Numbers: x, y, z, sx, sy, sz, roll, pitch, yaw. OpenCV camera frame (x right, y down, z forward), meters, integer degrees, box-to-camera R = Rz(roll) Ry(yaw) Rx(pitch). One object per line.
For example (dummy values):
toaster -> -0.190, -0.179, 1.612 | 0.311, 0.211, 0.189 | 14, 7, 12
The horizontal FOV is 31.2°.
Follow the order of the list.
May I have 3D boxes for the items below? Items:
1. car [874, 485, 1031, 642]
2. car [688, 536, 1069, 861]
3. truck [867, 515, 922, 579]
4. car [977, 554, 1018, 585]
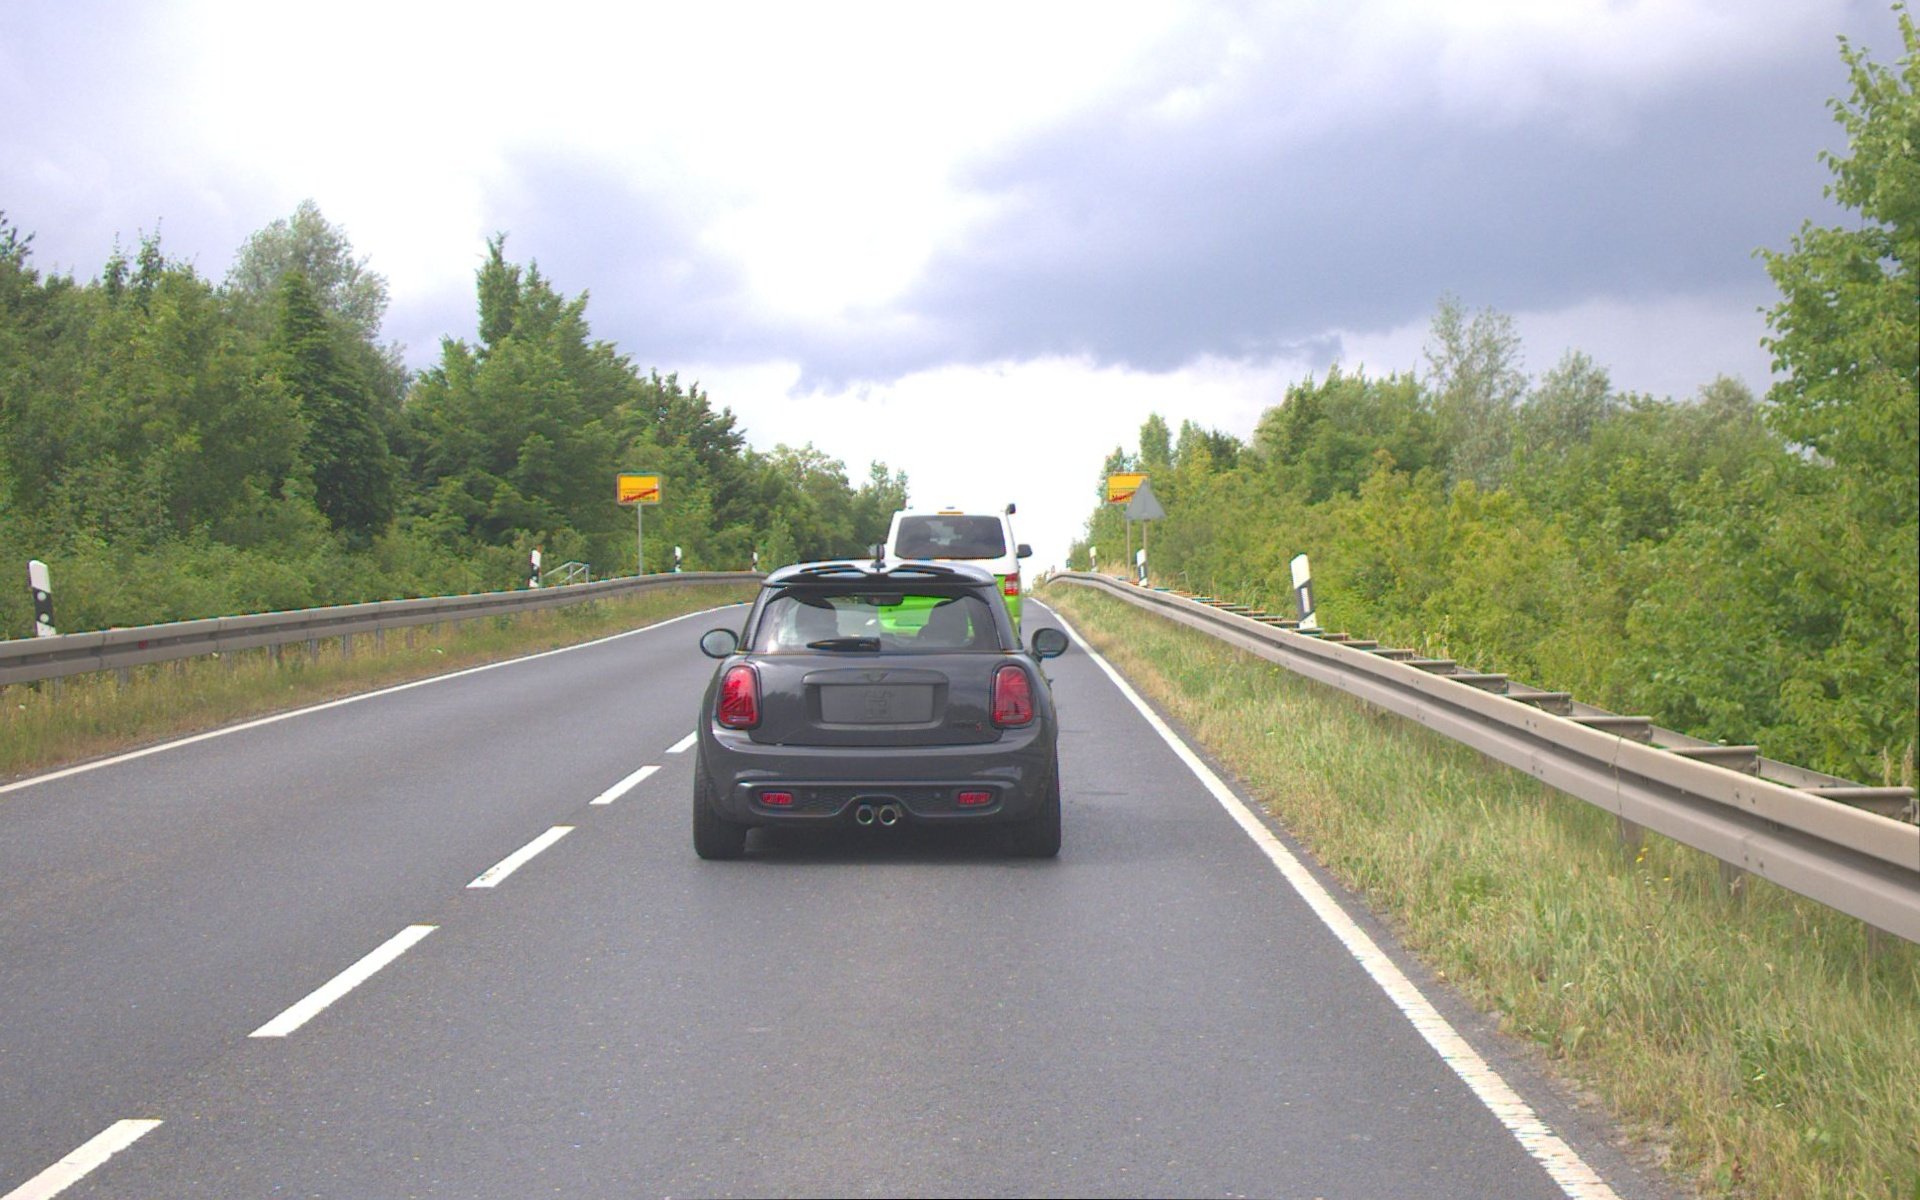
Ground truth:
car -> -0.067, -0.509, 46.273 | 2.022, 2.006, 4.000 | 0, 1, 1
car -> -0.448, 0.417, 17.697 | 1.732, 1.451, 4.001 | 0, 1, -2
truck -> -2.834, -2.349, 150.369 | 2.065, 2.733, 7.007 | 1, 1, 2
car -> 1.683, -1.374, 154.040 | 1.694, 1.315, 4.000 | -2, 1, 2
